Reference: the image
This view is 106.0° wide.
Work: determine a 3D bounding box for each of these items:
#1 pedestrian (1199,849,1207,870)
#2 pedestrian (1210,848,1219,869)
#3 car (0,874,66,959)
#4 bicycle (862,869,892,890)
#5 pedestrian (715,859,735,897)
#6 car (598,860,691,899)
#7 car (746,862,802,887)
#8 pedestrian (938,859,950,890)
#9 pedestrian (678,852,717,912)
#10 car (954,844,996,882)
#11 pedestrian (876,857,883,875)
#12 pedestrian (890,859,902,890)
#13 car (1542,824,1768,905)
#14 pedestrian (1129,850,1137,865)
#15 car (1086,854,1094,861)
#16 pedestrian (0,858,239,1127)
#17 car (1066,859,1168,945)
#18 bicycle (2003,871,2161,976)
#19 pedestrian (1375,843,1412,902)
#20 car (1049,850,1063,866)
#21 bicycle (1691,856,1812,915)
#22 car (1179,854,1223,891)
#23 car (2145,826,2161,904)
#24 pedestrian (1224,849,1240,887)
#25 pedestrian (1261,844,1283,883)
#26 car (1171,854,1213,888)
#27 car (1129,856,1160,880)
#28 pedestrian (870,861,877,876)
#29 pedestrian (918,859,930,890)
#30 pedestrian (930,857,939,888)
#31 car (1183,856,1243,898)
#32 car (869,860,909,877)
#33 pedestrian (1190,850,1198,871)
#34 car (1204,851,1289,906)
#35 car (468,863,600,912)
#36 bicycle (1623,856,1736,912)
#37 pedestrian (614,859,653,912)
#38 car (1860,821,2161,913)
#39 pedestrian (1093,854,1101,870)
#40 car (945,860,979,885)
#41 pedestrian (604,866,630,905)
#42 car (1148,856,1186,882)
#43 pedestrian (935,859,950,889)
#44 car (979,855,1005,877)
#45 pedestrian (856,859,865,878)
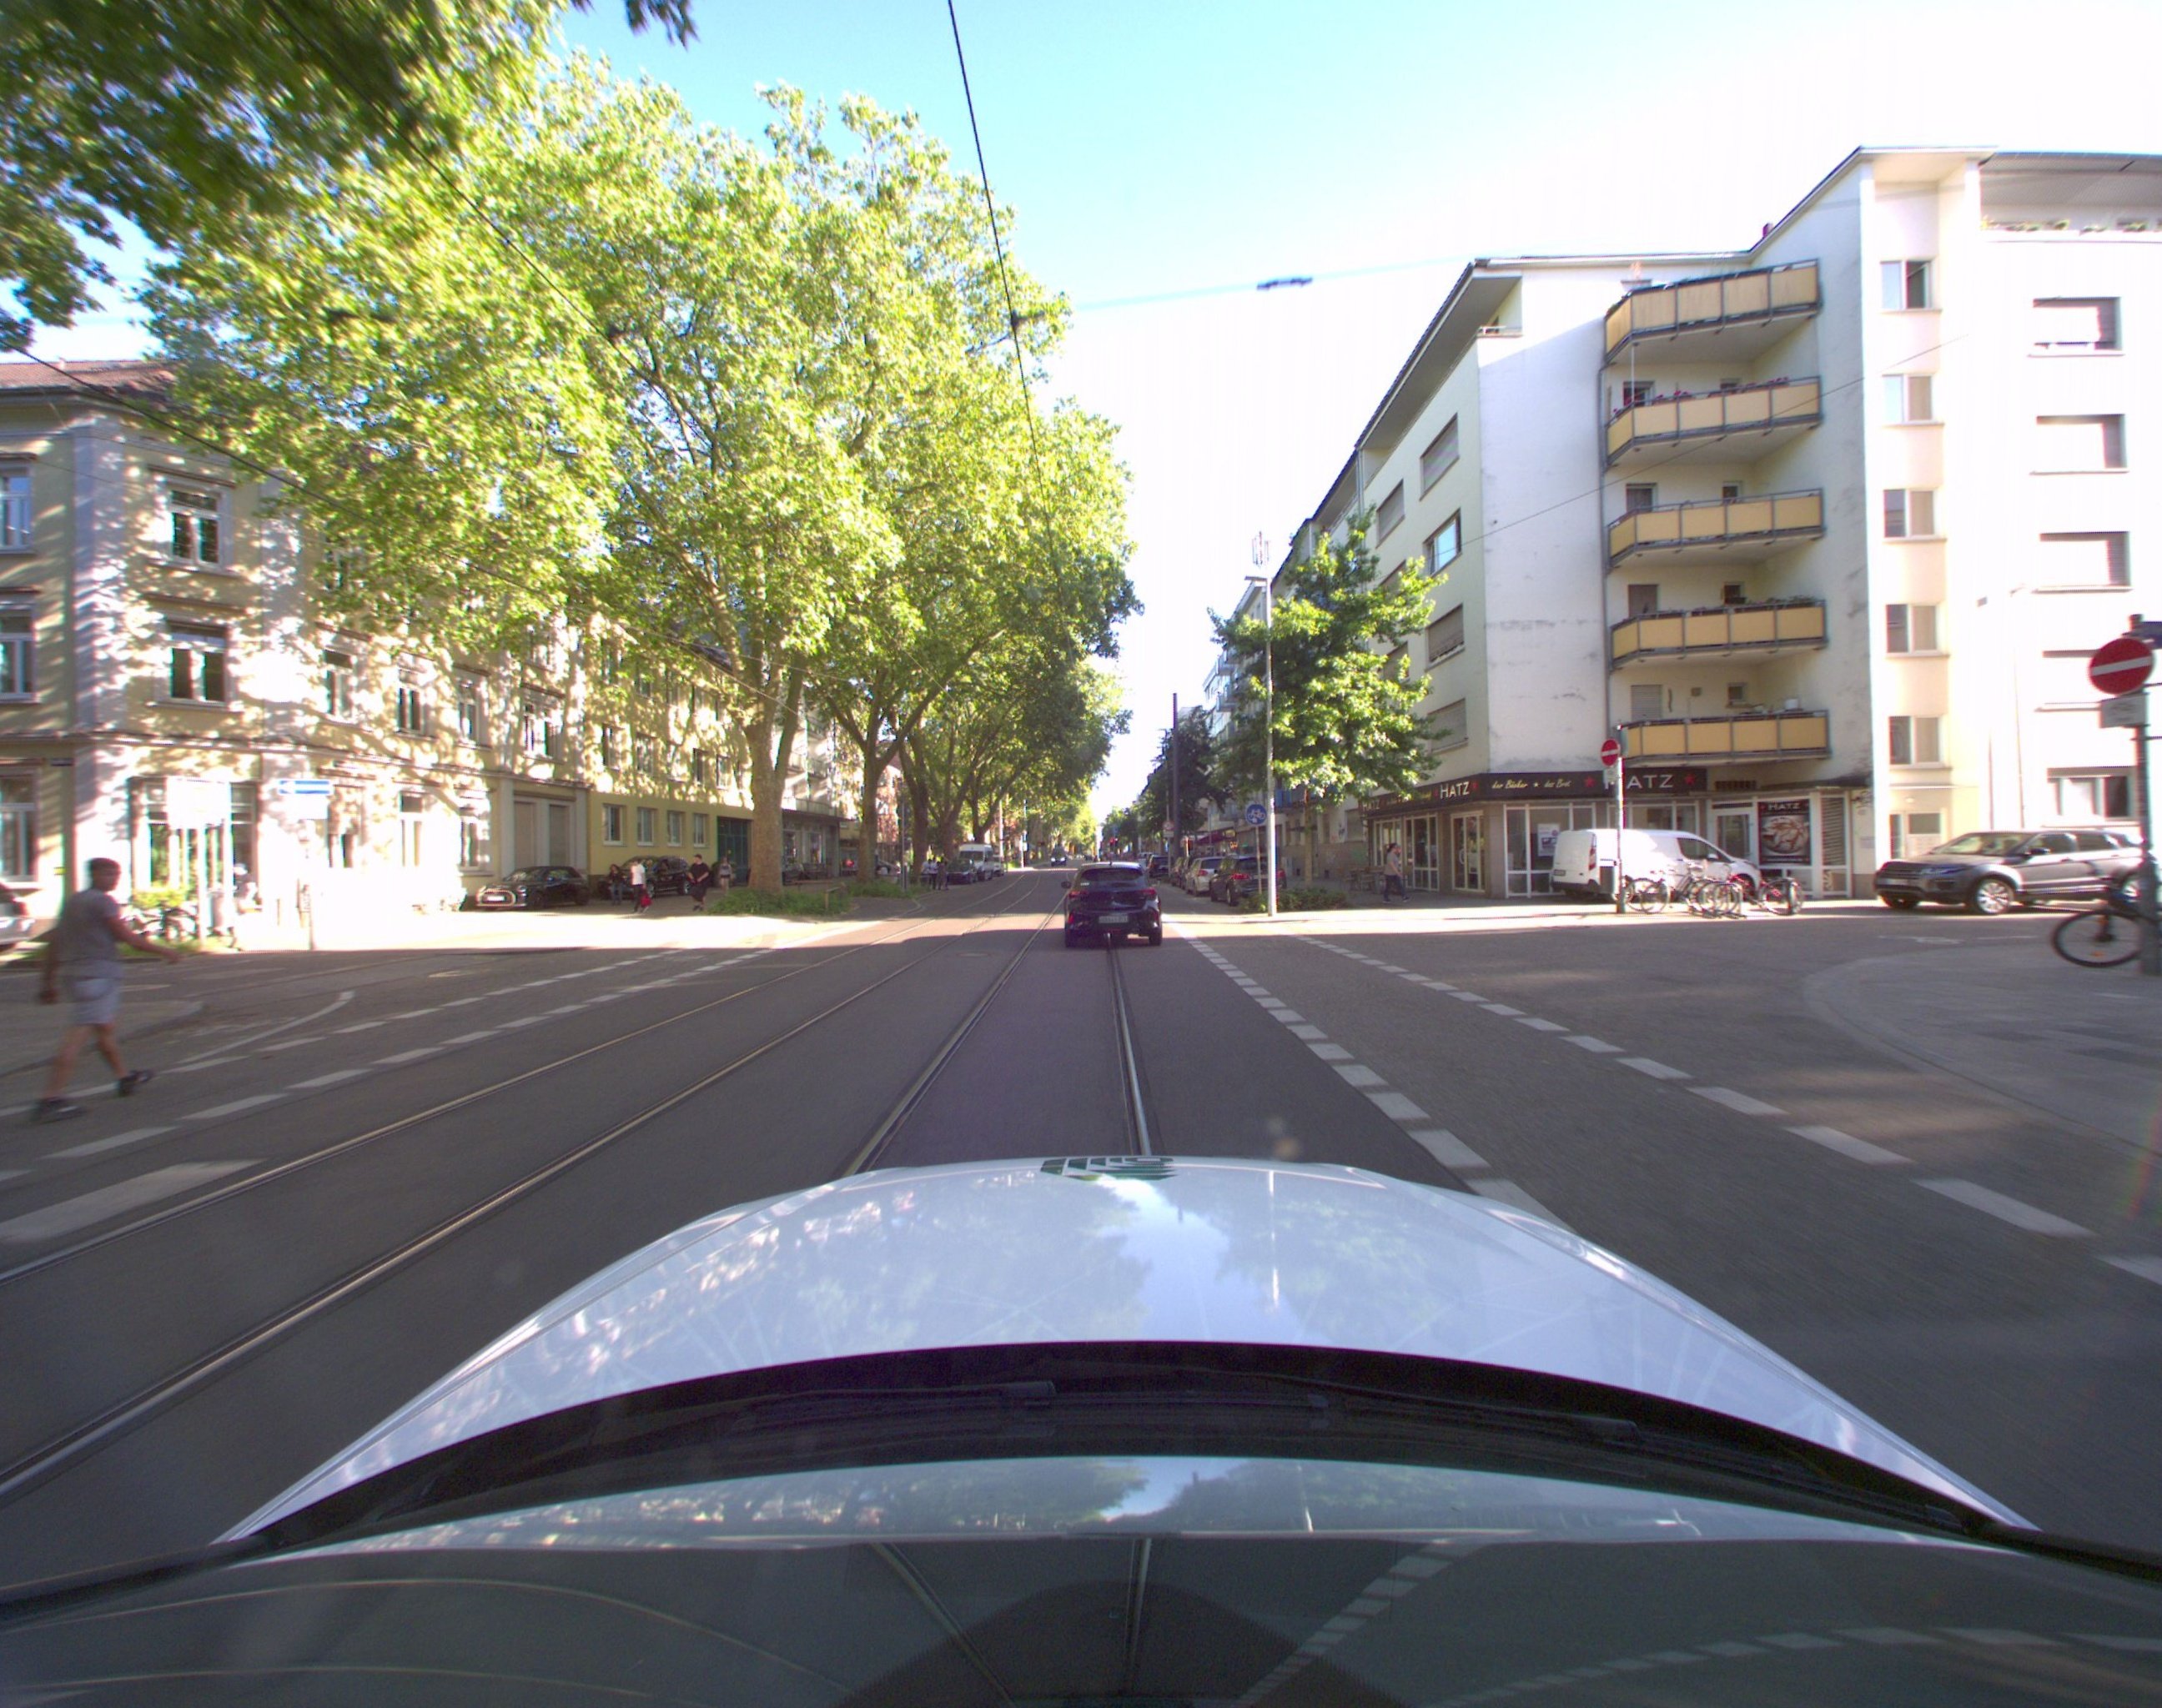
[{"bbox_3d":[10.064,0.466,67.286,0.626,1.732,0.633,-1,0,6],"label":"pedestrian"},{"bbox_3d":[11.020,0.393,67.127,0.626,1.732,0.633,-1,0,7],"label":"pedestrian"},{"bbox_3d":[-23.141,1.316,16.076,3.633,1.584,2.002,-1,3,2],"label":"car"},{"bbox_3d":[-10.654,1.348,42.593,1.675,1.062,0.455,0,-1,31],"label":"bicycle"},{"bbox_3d":[-15.525,1.042,35.526,0.549,1.652,0.650,-2,0,4],"label":"pedestrian"},{"bbox_3d":[-18.342,1.039,34.420,1.675,1.517,4.002,0,0,2],"label":"car"},{"bbox_3d":[-17.729,1.147,47.219,1.689,1.276,3.828,-1,0,1],"label":"car"},{"bbox_3d":[-7.167,1.050,42.521,0.505,1.583,0.527,-1,0,0],"label":"pedestrian"},{"bbox_3d":[-12.315,0.899,26.169,0.903,1.869,0.643,-1,0,-5],"label":"pedestrian"},{"bbox_3d":[-7.502,0.616,58.406,2.085,2.584,5.997,-1,0,1],"label":"car"},{"bbox_3d":[-18.139,1.051,73.424,0.505,1.583,0.526,-1,0,-2],"label":"pedestrian"},{"bbox_3d":[-9.728,1.072,42.842,0.505,1.583,0.526,-1,0,-2],"label":"pedestrian"},{"bbox_3d":[14.392,0.247,20.580,4.349,1.831,1.998,-1,0,-3],"label":"car"},{"bbox_3d":[7.126,0.484,112.268,0.853,2.013,1.070,-6,-1,1],"label":"pedestrian"},{"bbox_3d":[2.240,0.789,203.479,1.743,1.651,4.003,-1,0,3],"label":"car"},{"bbox_3d":[-6.922,0.913,5.889,0.712,1.735,0.909,-3,0,-13],"label":"pedestrian"},{"bbox_3d":[0.618,0.807,15.286,1.674,1.422,3.628,0,0,1],"label":"car"},{"bbox_3d":[11.271,0.713,8.579,0.801,1.015,1.965,-2,0,-4],"label":"bicycle"},{"bbox_3d":[8.836,0.516,23.011,0.847,1.616,0.775,-2,0,29],"label":"pedestrian"},{"bbox_3d":[-3.666,0.631,118.932,1.989,2.211,5.096,-1,0,-3],"label":"car"},{"bbox_3d":[13.355,0.633,16.265,1.759,1.117,0.616,-2,0,14],"label":"bicycle"},{"bbox_3d":[5.317,0.792,36.417,1.644,1.574,3.086,-1,0,3],"label":"car"},{"bbox_3d":[23.650,0.174,15.833,3.632,1.571,1.732,-1,0,0],"label":"car"},{"bbox_3d":[6.693,0.620,36.142,0.598,1.651,0.631,-1,0,1],"label":"pedestrian"},{"bbox_3d":[8.670,0.431,36.951,0.789,1.748,0.771,-1,0,3],"label":"pedestrian"},{"bbox_3d":[5.448,0.790,40.233,1.711,1.574,3.684,-1,0,3],"label":"car"},{"bbox_3d":[4.547,0.954,58.604,1.986,1.640,4.002,-1,0,2],"label":"car"},{"bbox_3d":[-18.804,1.297,73.882,0.505,1.333,0.526,-1,0,-2],"label":"pedestrian"},{"bbox_3d":[-8.145,1.077,42.265,0.505,1.583,0.526,-1,0,-3],"label":"pedestrian"},{"bbox_3d":[-7.686,0.978,42.637,0.345,1.583,0.508,-1,0,-1],"label":"pedestrian"},{"bbox_3d":[5.084,0.837,31.752,1.713,1.490,3.680,-1,0,-1],"label":"car"},{"bbox_3d":[-21.234,1.573,90.309,3.981,1.706,1.996,-1,0,-6],"label":"car"},{"bbox_3d":[9.329,0.541,67.390,0.626,1.732,0.633,-1,0,6],"label":"pedestrian"},{"bbox_3d":[5.235,0.729,26.260,1.714,1.574,4.080,-1,0,-3],"label":"car"},{"bbox_3d":[-18.522,1.076,27.805,1.675,1.464,4.002,-1,0,2],"label":"car"},{"bbox_3d":[12.665,0.621,17.264,1.827,1.117,0.704,-2,0,3],"label":"bicycle"},{"bbox_3d":[-14.124,0.975,25.719,0.845,1.632,0.643,-1,0,-5],"label":"pedestrian"},{"bbox_3d":[18.302,0.243,16.125,3.991,1.606,1.804,-1,0,0],"label":"car"},{"bbox_3d":[1.617,0.844,81.867,0.594,1.590,0.891,-2,0,-6],"label":"pedestrian"},{"bbox_3d":[-7.585,1.148,52.189,1.750,1.508,3.996,-1,0,-2],"label":"car"},{"bbox_3d":[-16.919,1.134,29.729,0.551,1.403,0.648,-2,0,-3],"label":"pedestrian"},{"bbox_3d":[5.308,0.884,50.564,1.986,1.508,4.001,-1,0,1],"label":"car"},{"bbox_3d":[-7.348,1.051,43.255,0.681,1.583,0.557,-1,0,-1],"label":"pedestrian"},{"bbox_3d":[-7.497,0.976,68.639,1.990,1.717,3.994,-1,0,-4],"label":"car"},{"bbox_3d":[-18.853,1.255,69.636,0.552,1.583,0.573,-1,0,-3],"label":"pedestrian"}]
